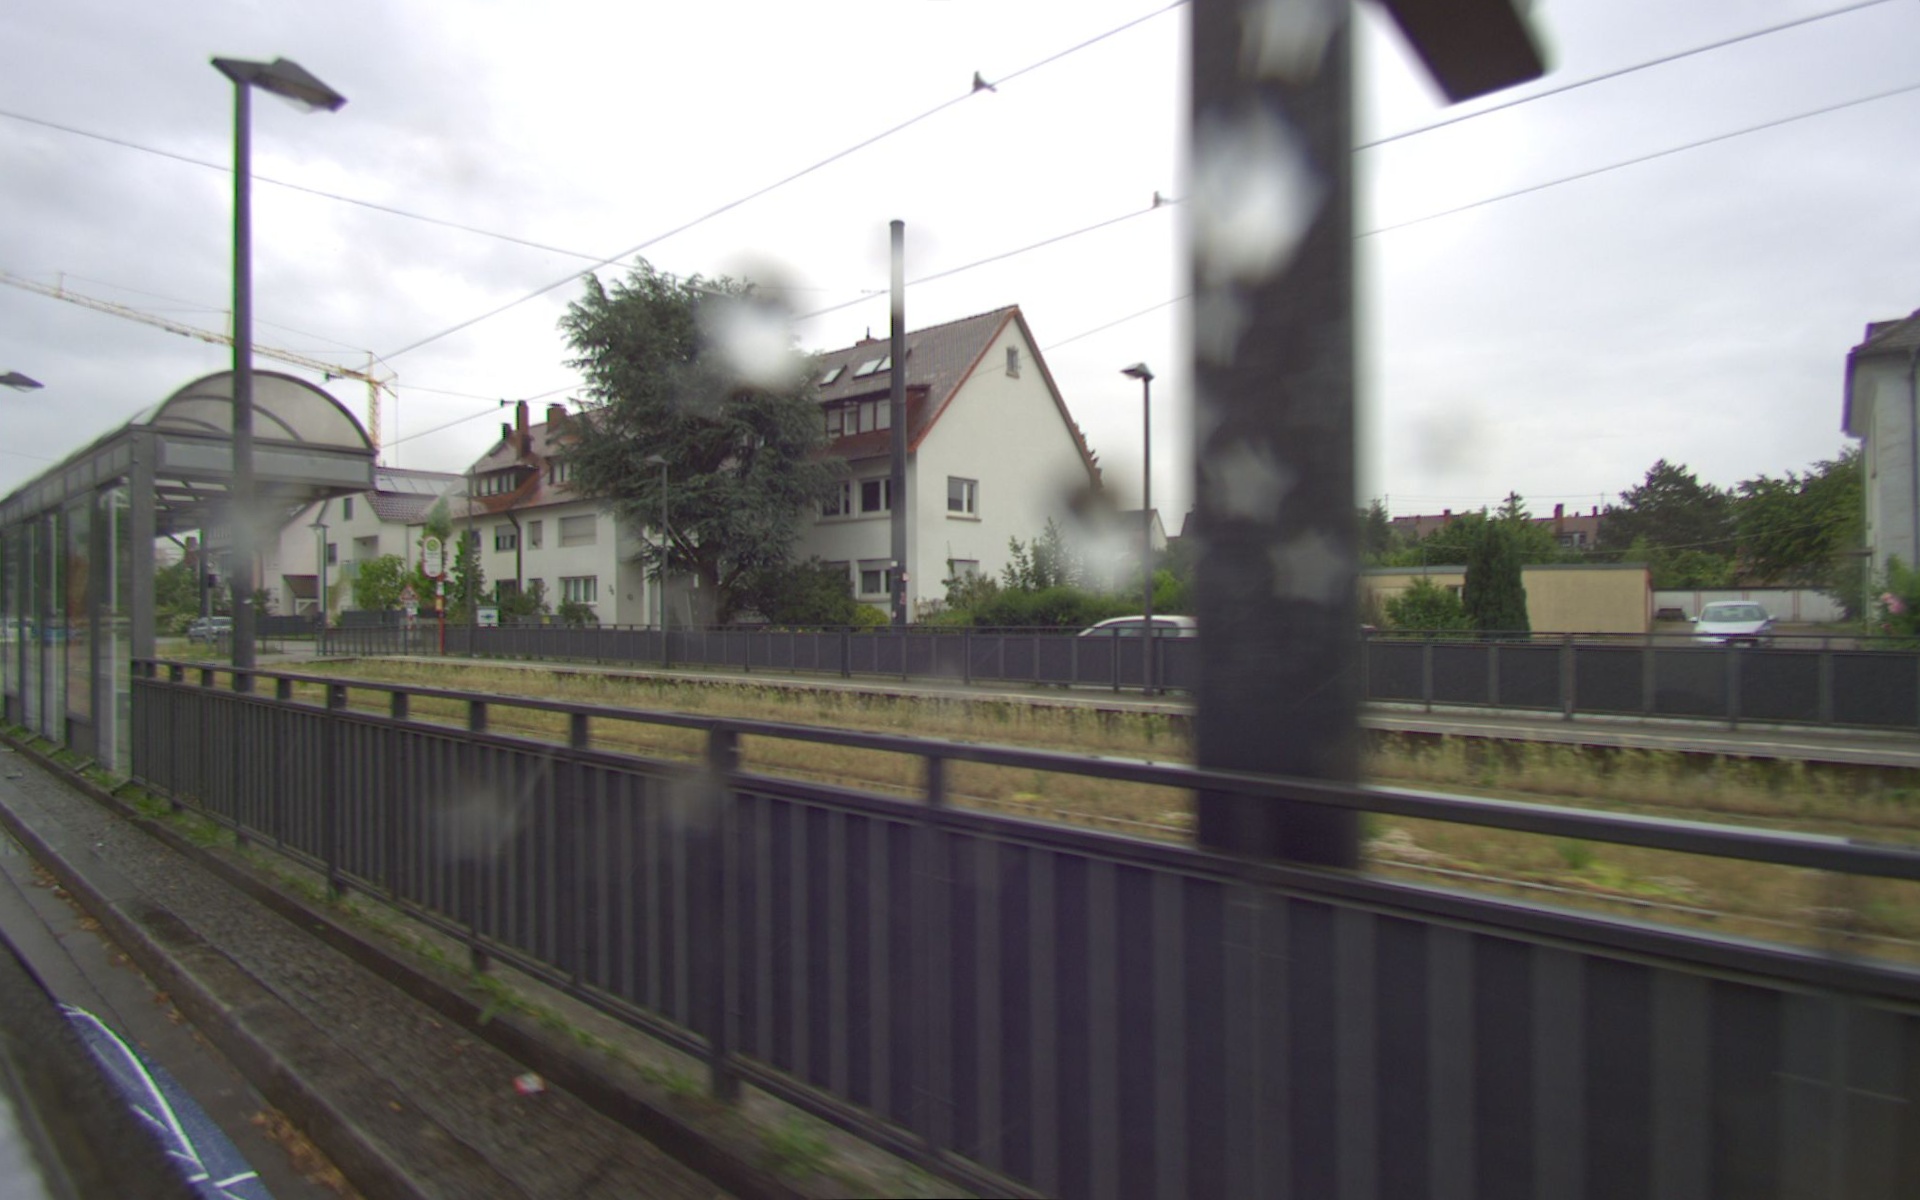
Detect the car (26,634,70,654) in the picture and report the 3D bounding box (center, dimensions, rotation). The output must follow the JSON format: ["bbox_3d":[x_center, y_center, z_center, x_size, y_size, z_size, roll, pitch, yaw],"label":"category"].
[{"bbox_3d":[-73.694,3.540,81.784,3.838,1.383,1.975,0,0,38],"label":"car"}]

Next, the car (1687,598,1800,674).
[{"bbox_3d":[21.141,0.899,27.262,2.001,1.829,3.942,0,1,44],"label":"car"}]

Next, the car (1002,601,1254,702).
[{"bbox_3d":[2.766,0.787,17.243,3.999,1.504,1.616,0,1,42],"label":"car"}]

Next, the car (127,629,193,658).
[{"bbox_3d":[-43.579,2.343,55.099,3.652,1.424,1.975,0,0,38],"label":"car"}]

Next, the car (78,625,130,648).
[{"bbox_3d":[-57.701,2.457,68.208,4.168,1.437,1.819,-2,-1,38],"label":"car"}]

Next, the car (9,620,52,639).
[{"bbox_3d":[-78.111,2.512,85.075,4.168,1.420,1.975,-3,-1,38],"label":"car"}]
